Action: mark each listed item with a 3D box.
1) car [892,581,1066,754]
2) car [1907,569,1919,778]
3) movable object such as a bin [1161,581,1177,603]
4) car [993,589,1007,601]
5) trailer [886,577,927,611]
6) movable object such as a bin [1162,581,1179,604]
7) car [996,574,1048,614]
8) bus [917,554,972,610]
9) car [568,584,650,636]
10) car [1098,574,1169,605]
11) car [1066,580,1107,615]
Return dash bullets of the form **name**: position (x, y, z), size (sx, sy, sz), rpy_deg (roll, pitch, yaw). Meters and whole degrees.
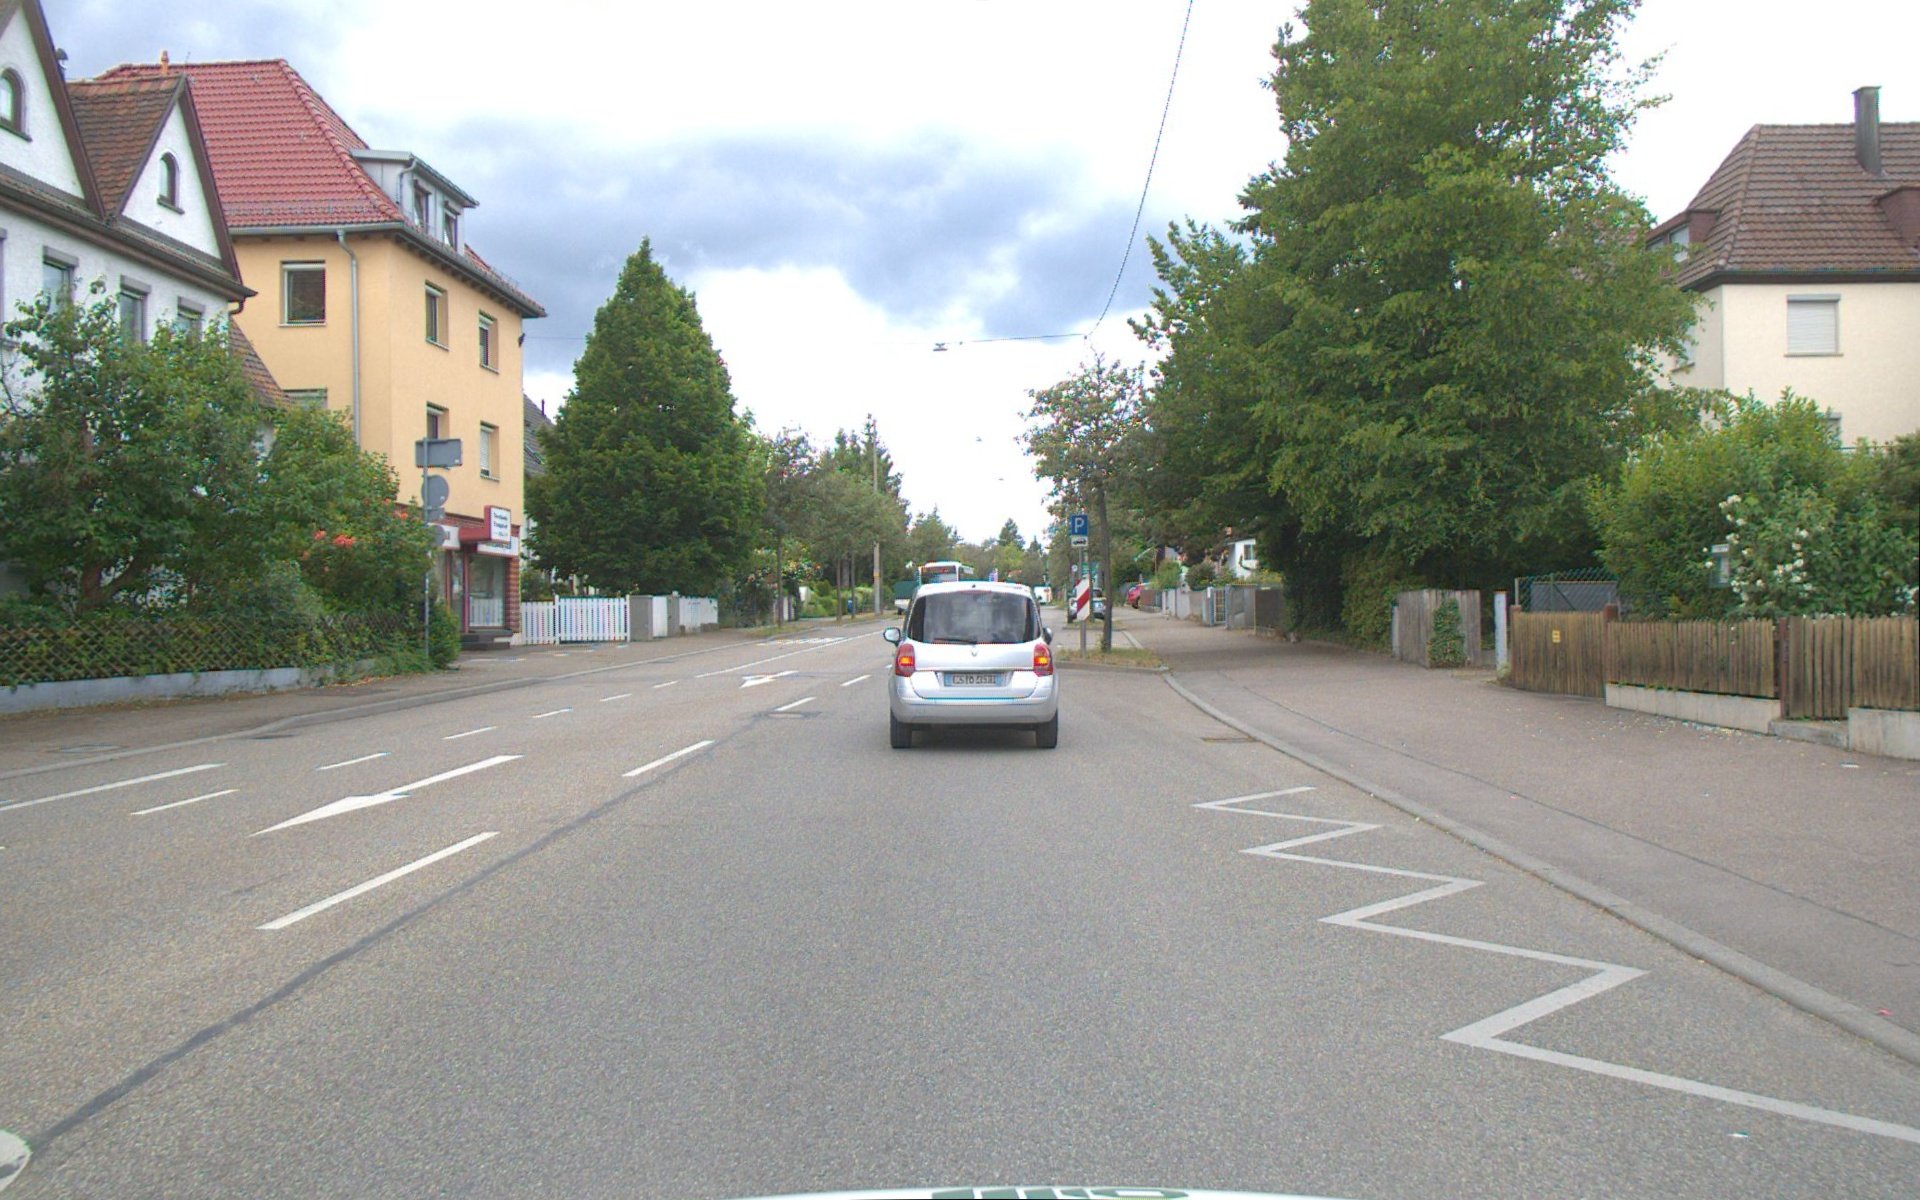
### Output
- **car**: position (0.204, 0.640, 17.220), size (1.596, 1.584, 4.000), rpy_deg (0, -1, 1)
- **car**: position (9.061, 0.411, 11.039), size (4.328, 1.514, 1.865), rpy_deg (-3, -1, 2)
- **movable object such as a bin**: position (10.890, -0.408, 86.360), size (0.760, 1.123, 0.692), rpy_deg (-1, 0, 3)
- **car**: position (5.883, -0.753, 241.674), size (1.867, 1.646, 3.999), rpy_deg (0, -1, -1)
- **trailer**: position (-3.473, -0.370, 107.819), size (2.264, 2.123, 5.874), rpy_deg (0, -1, 2)
- **movable object such as a bin**: position (10.791, -0.384, 84.866), size (0.760, 1.123, 0.692), rpy_deg (-1, 0, 3)
- **car**: position (2.749, -0.274, 72.975), size (1.790, 1.705, 3.577), rpy_deg (-1, 0, 10)
- **bus**: position (-0.865, -1.123, 103.140), size (2.577, 3.139, 12.074), rpy_deg (-3, 0, 3)
- **car**: position (-12.058, 0.305, 57.016), size (1.769, 1.591, 4.618), rpy_deg (-3, 1, 0)
- **car**: position (10.529, -0.634, 100.401), size (3.910, 1.522, 1.808), rpy_deg (-4, 0, -5)
- **car**: position (5.202, -0.076, 68.115), size (1.615, 1.406, 4.002), rpy_deg (-1, -1, 4)
